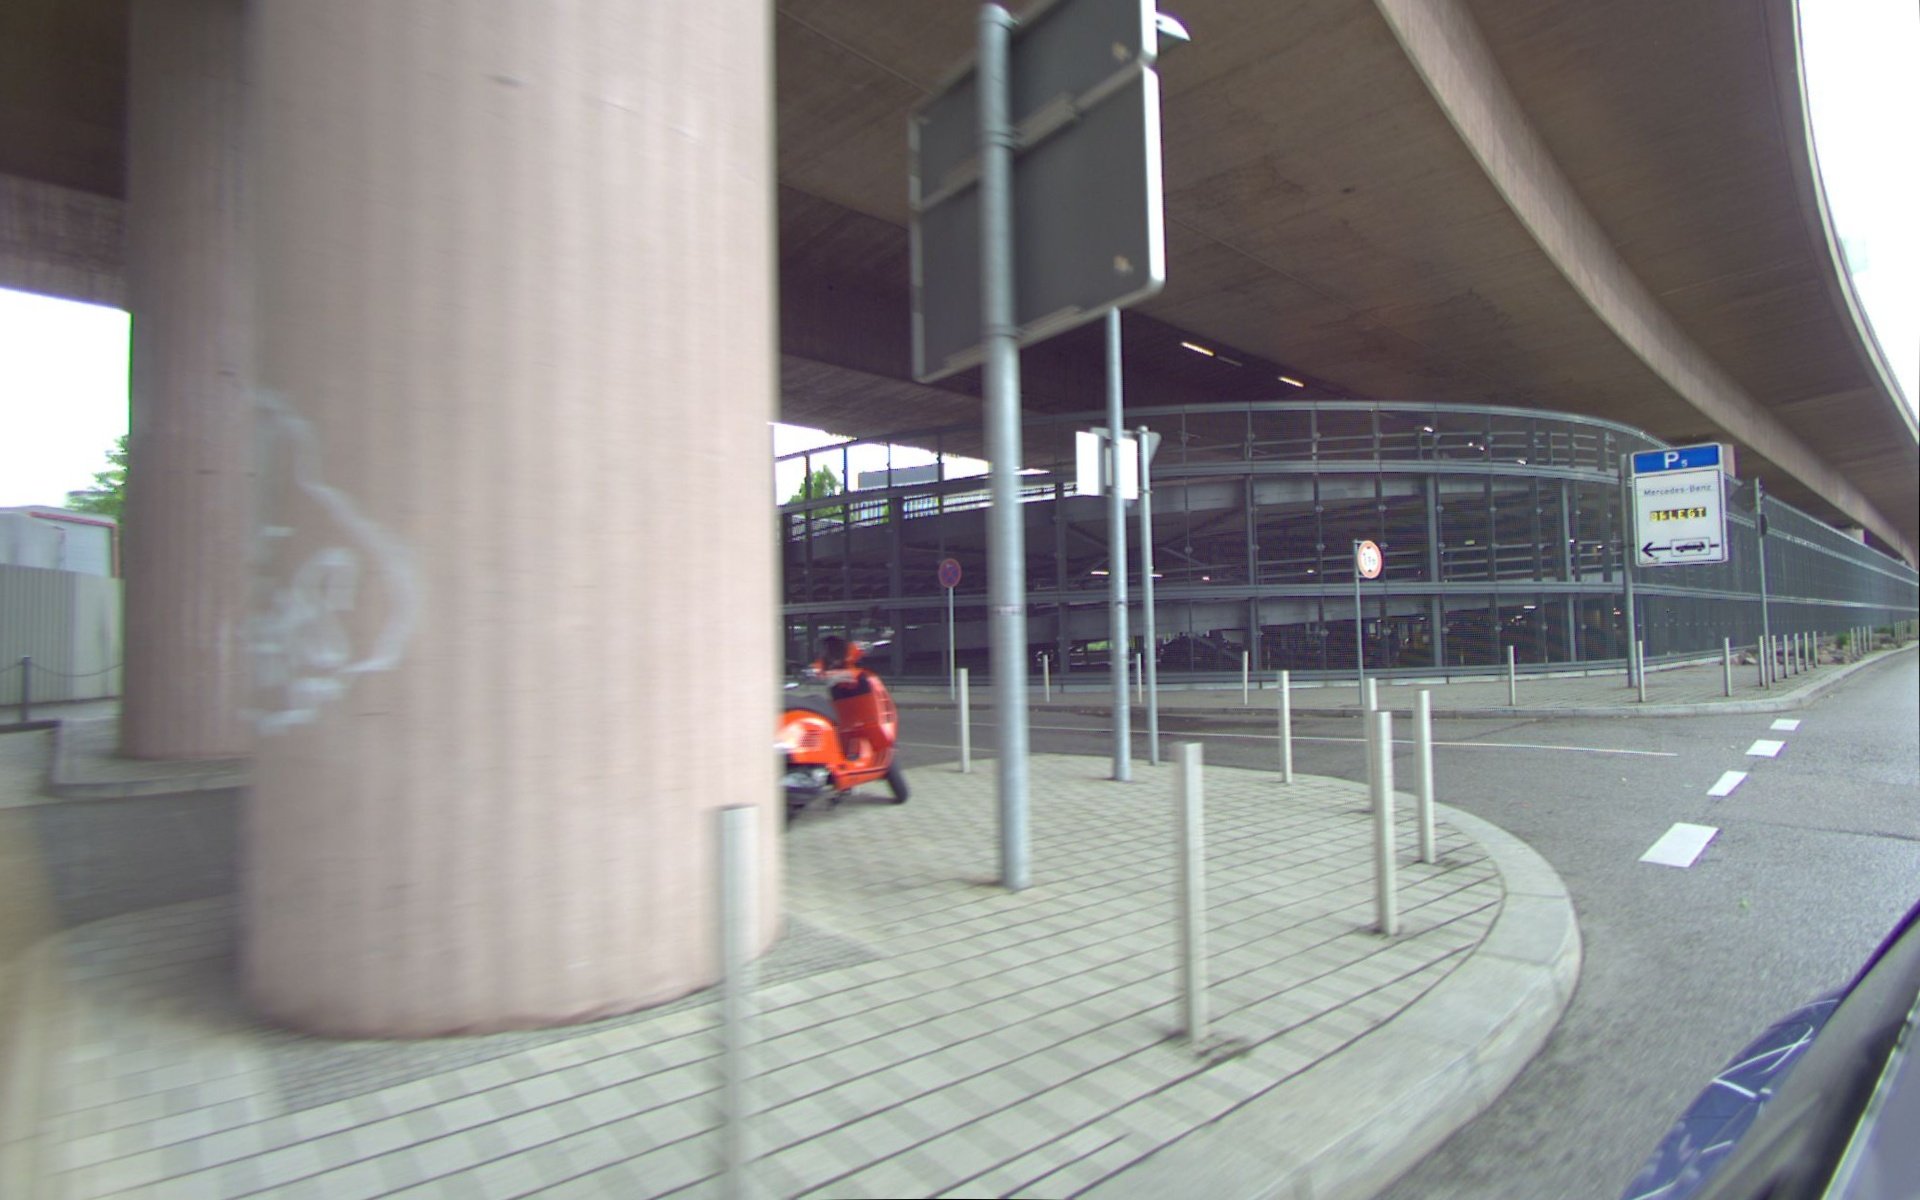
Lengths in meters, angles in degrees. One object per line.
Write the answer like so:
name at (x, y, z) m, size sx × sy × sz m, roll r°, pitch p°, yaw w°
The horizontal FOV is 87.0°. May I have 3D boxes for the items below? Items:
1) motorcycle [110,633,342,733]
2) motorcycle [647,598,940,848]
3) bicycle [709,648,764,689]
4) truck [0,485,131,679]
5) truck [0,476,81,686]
motorcycle at (-10.029, 1.099, 13.913) m, size 2.491 × 1.251 × 0.783 m, roll 2°, pitch -3°, yaw -40°
motorcycle at (-1.003, 0.701, 6.733) m, size 0.791 × 1.384 × 2.107 m, roll -1°, pitch -2°, yaw 29°
bicycle at (-6.159, 1.875, 27.868) m, size 1.777 × 1.093 × 0.431 m, roll -2°, pitch -3°, yaw 37°
truck at (-24.922, -0.357, 23.592) m, size 8.596 × 4.292 × 2.913 m, roll 0°, pitch -1°, yaw -3°
truck at (-23.656, -0.345, 20.681) m, size 8.596 × 4.212 × 2.913 m, roll 0°, pitch -1°, yaw -3°
